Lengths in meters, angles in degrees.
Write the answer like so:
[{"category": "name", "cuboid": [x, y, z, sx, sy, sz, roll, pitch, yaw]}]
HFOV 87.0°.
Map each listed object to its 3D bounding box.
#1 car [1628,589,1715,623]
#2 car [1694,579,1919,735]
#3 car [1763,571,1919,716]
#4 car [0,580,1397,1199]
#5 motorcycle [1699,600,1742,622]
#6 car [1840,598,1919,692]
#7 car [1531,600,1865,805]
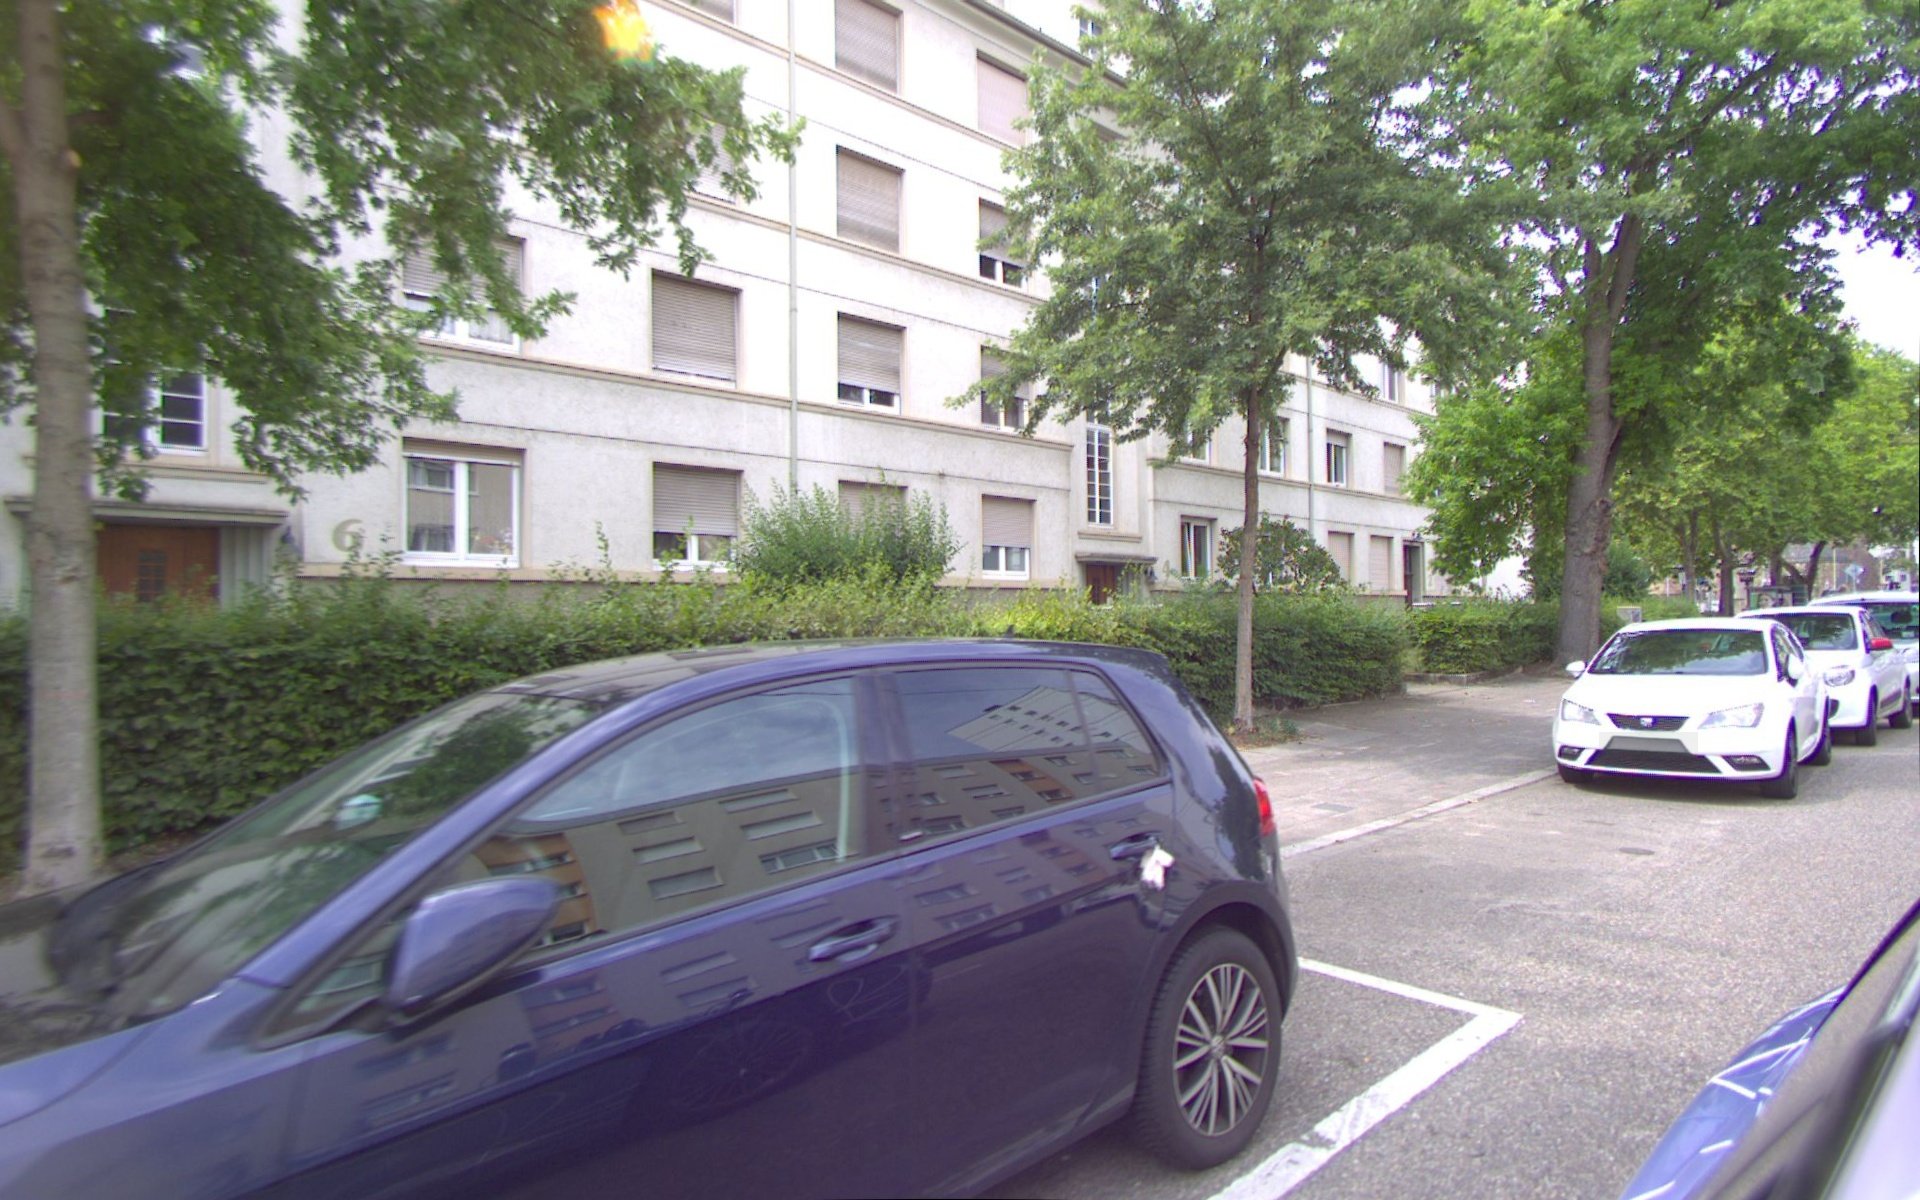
[{"category": "car", "cuboid": [38.148, 0.321, 54.237, 4.241, 1.728, 1.941, -1, -1, -26]}, {"category": "car", "cuboid": [10.563, 0.618, 12.391, 3.737, 1.629, 1.607, 0, -3, -40]}, {"category": "car", "cuboid": [13.943, 0.579, 15.223, 4.760, 1.890, 1.921, 0, -2, -40]}, {"category": "car", "cuboid": [-0.719, 0.753, 2.559, 4.029, 1.488, 1.700, 0, -3, -40]}, {"category": "motorcycle", "cuboid": [42.729, 0.635, 56.862, 1.853, 1.238, 0.523, -2, -2, 43]}, {"category": "car", "cuboid": [17.658, 0.734, 18.310, 4.164, 1.462, 1.921, -2, -1, -40]}, {"category": "car", "cuboid": [6.907, 0.759, 9.310, 4.031, 1.468, 1.699, 0, -2, -43]}]
